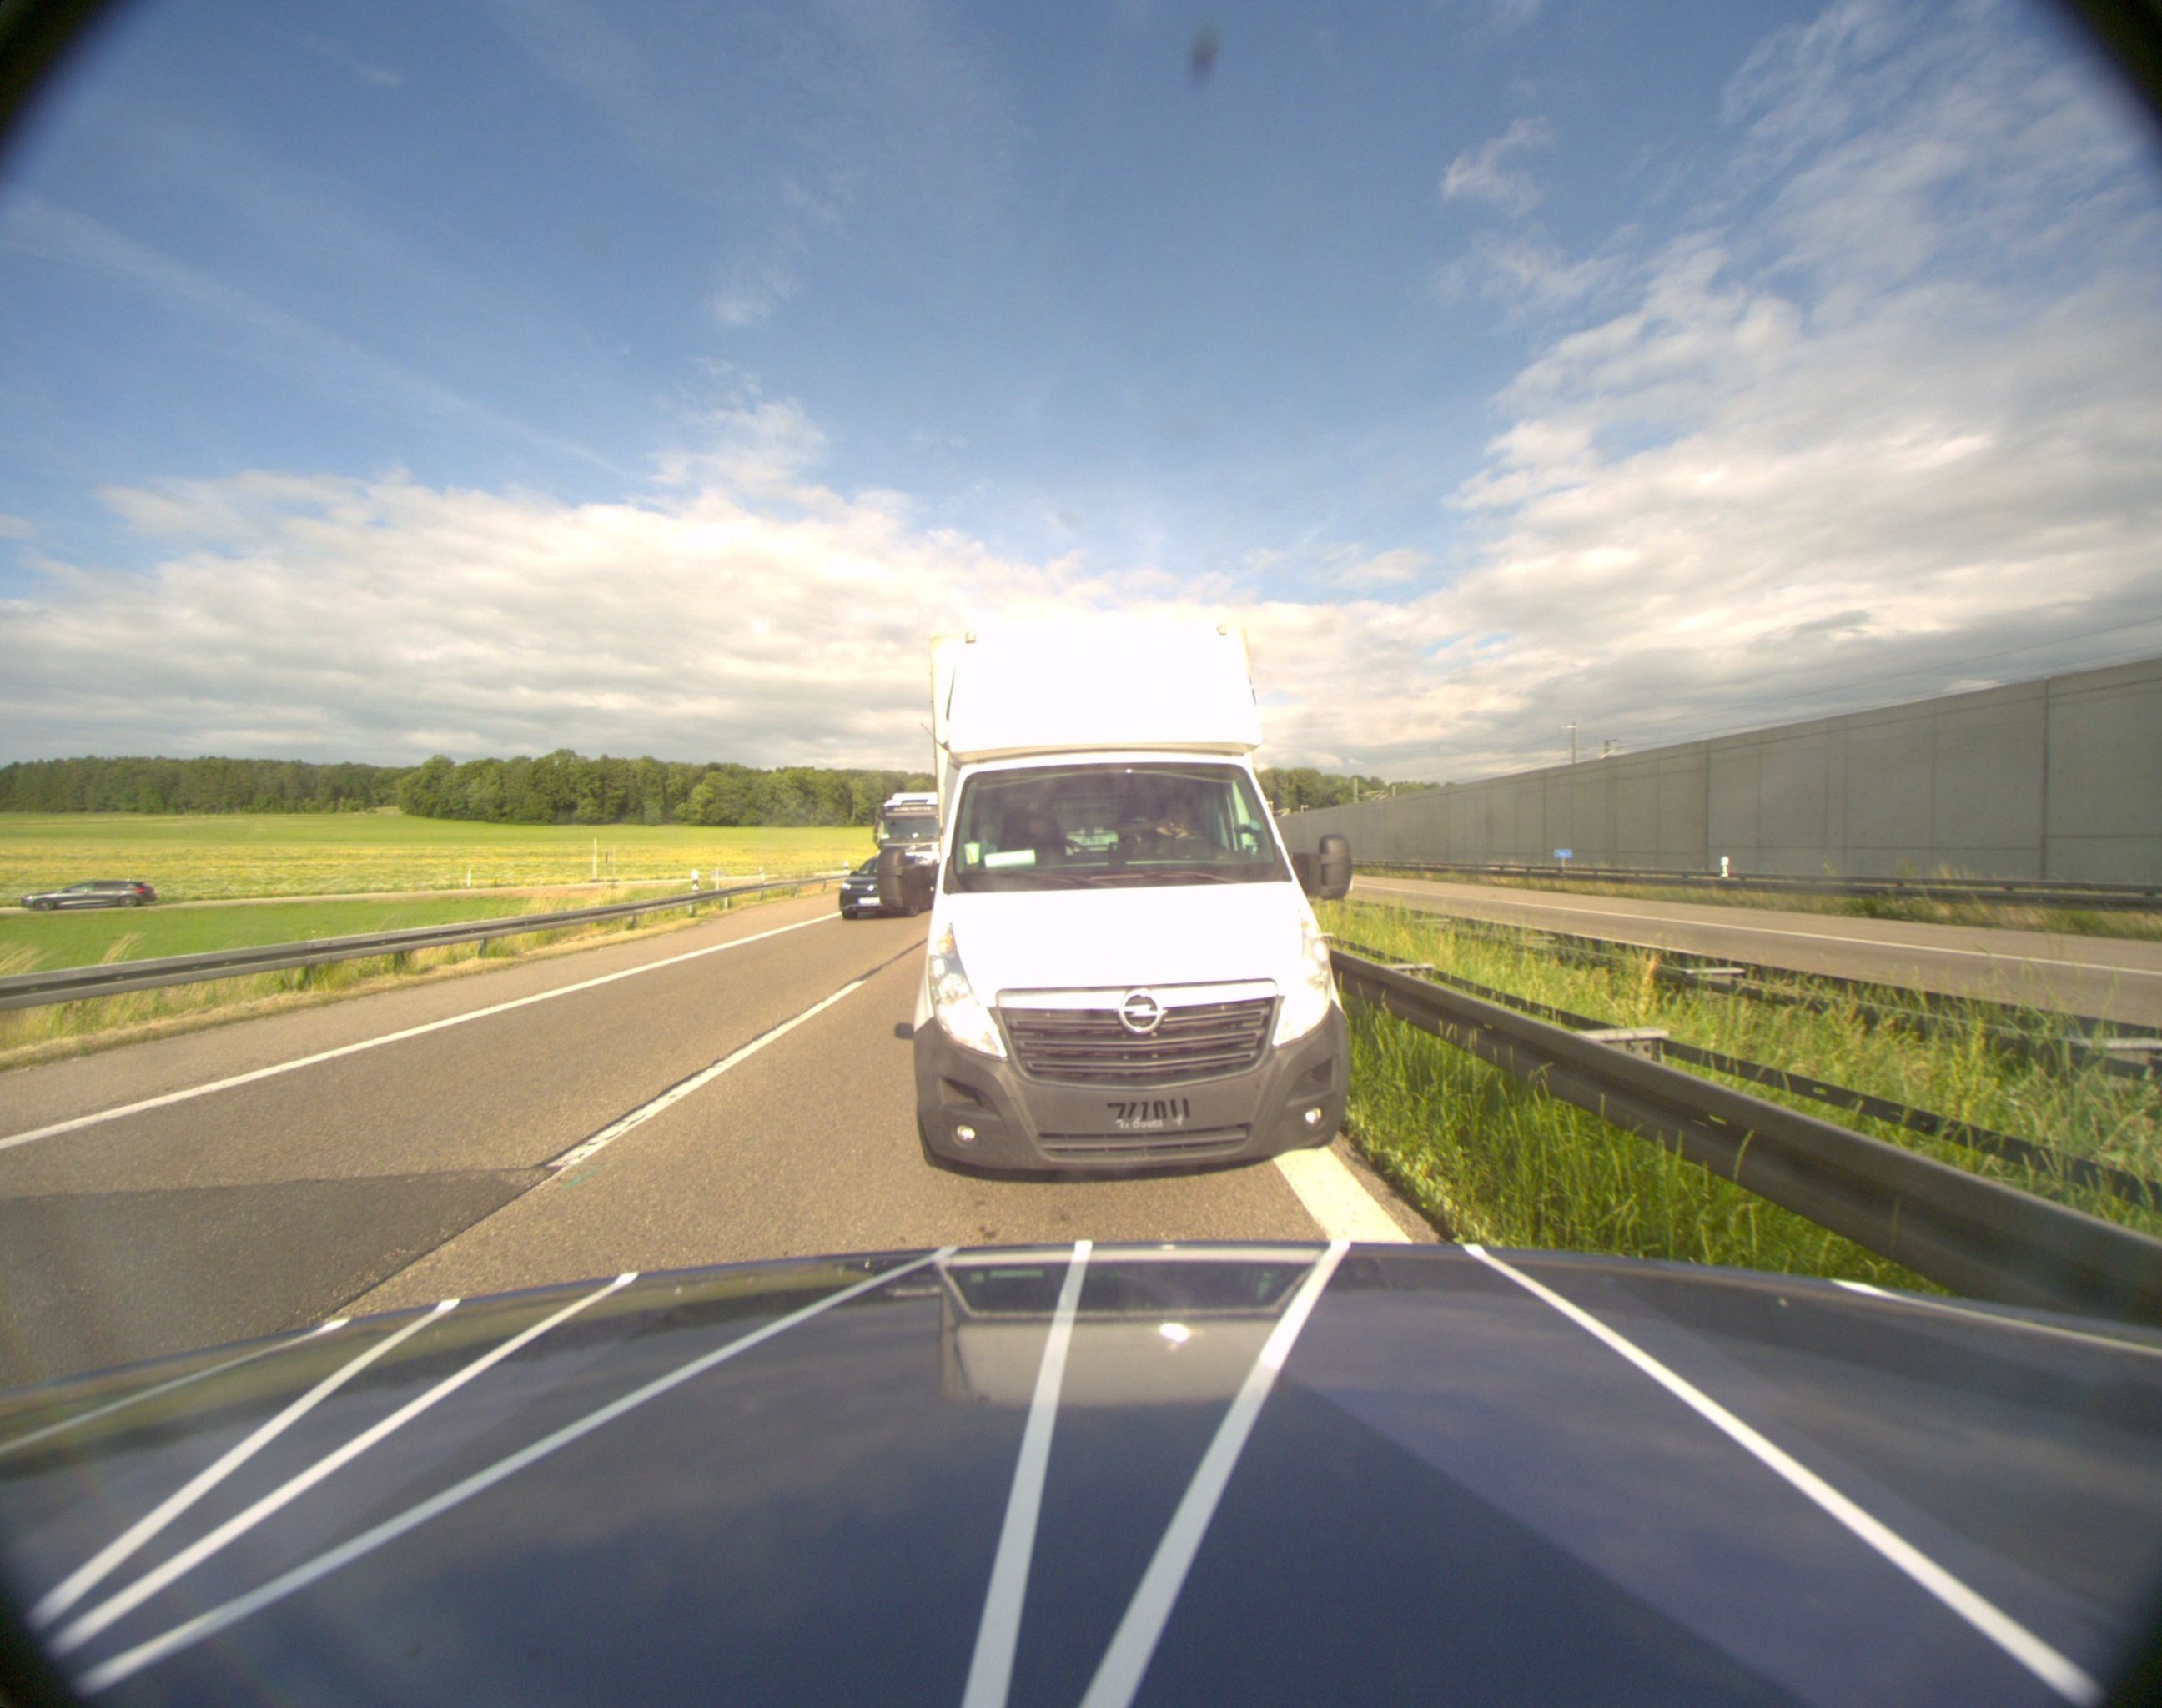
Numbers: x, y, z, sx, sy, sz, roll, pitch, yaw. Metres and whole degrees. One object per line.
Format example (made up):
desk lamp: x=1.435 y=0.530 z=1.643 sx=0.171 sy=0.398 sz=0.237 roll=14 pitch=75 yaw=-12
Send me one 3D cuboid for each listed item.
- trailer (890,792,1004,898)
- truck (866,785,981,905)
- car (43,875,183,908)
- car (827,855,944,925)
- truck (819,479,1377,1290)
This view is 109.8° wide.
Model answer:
trailer: x=-5.719 y=-0.415 z=35.049 sx=2.826 sy=3.959 sz=12.127 roll=-2 pitch=1 yaw=1
truck: x=-5.797 y=-0.343 z=29.195 sx=2.842 sy=3.967 sz=6.500 roll=-2 pitch=1 yaw=1
car: x=-51.552 y=1.954 z=40.622 sx=4.228 sy=1.477 sz=1.833 roll=-3 pitch=1 yaw=-38
car: x=-5.149 y=0.887 z=20.628 sx=1.998 sy=1.587 sz=4.118 roll=-2 pitch=1 yaw=1
truck: x=0.126 y=0.091 z=6.856 sx=2.060 sy=3.088 sz=7.803 roll=-2 pitch=1 yaw=1
